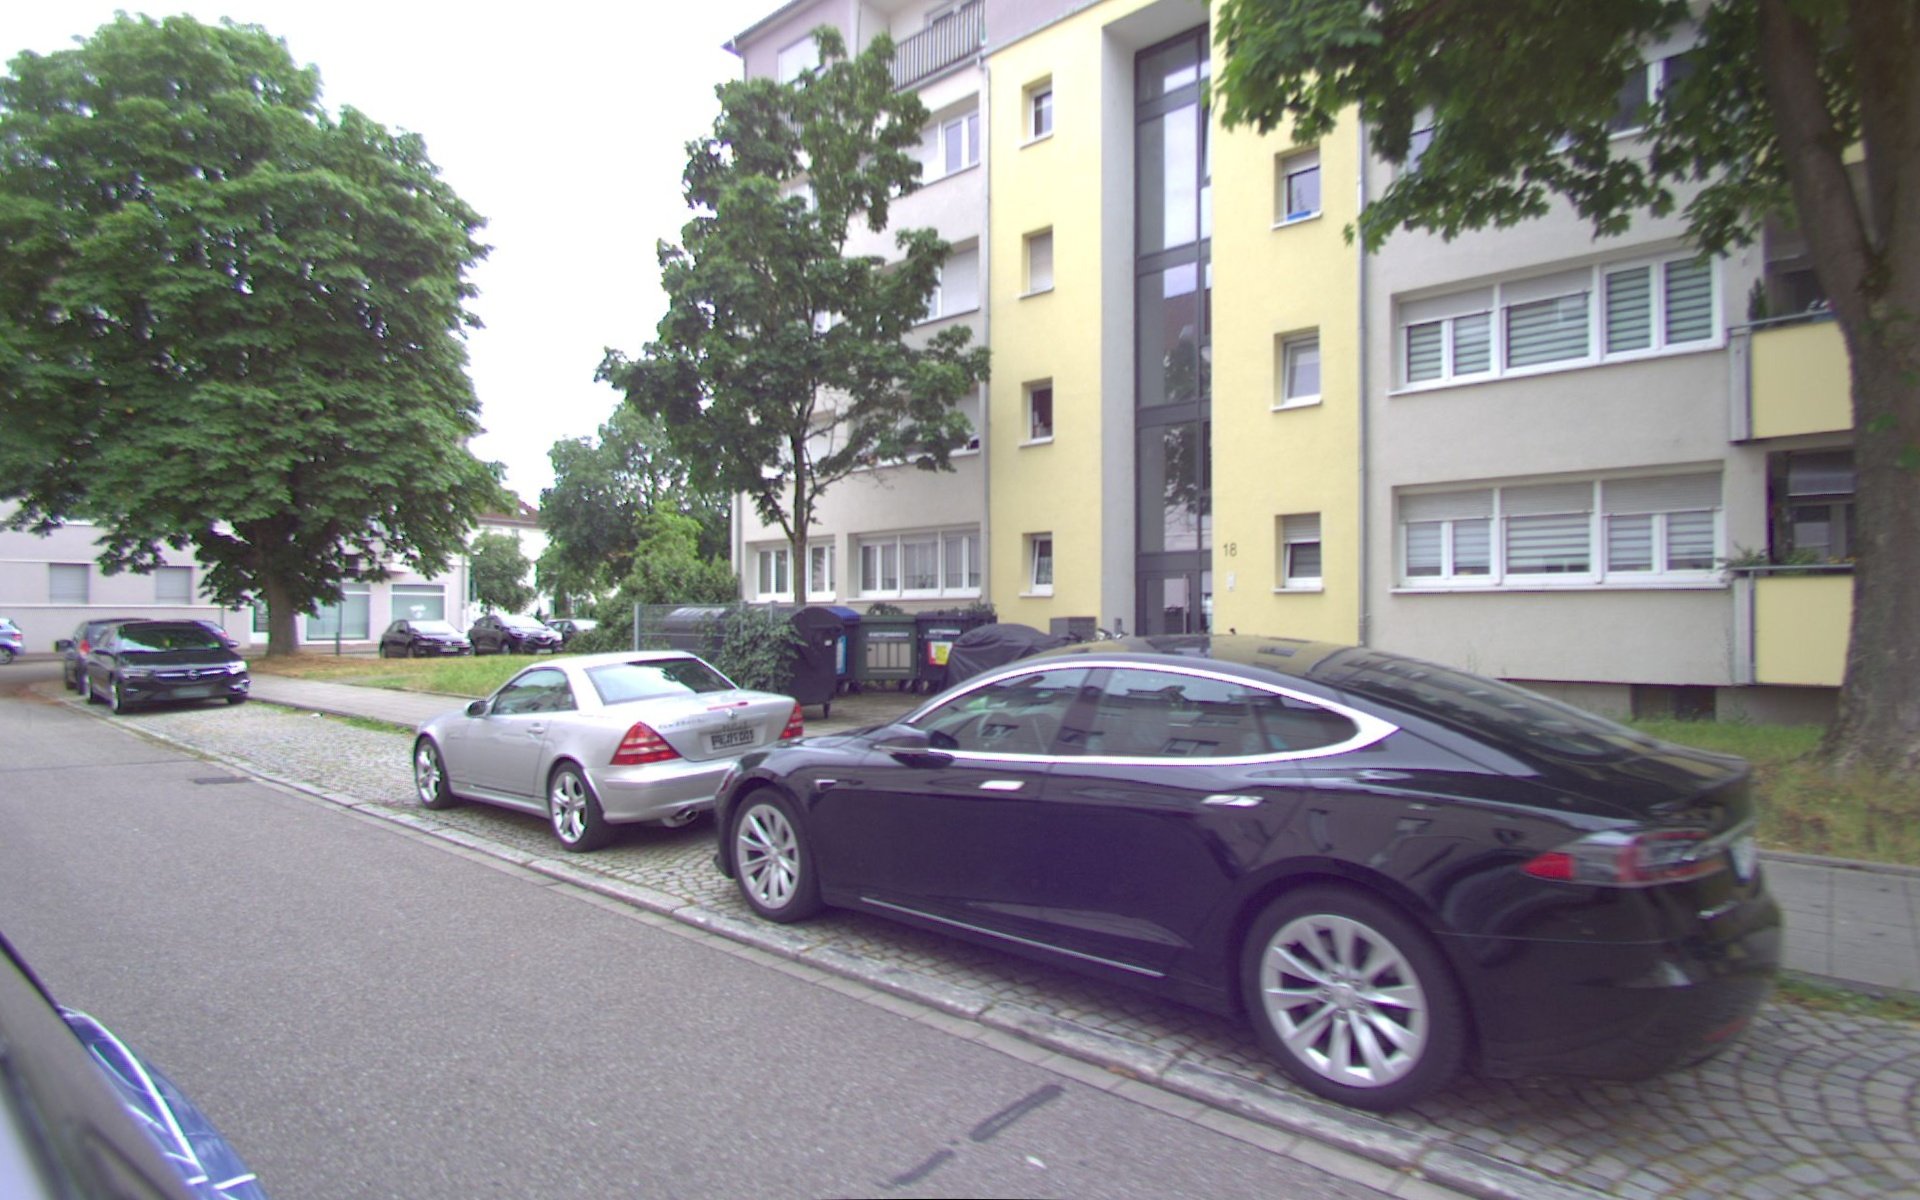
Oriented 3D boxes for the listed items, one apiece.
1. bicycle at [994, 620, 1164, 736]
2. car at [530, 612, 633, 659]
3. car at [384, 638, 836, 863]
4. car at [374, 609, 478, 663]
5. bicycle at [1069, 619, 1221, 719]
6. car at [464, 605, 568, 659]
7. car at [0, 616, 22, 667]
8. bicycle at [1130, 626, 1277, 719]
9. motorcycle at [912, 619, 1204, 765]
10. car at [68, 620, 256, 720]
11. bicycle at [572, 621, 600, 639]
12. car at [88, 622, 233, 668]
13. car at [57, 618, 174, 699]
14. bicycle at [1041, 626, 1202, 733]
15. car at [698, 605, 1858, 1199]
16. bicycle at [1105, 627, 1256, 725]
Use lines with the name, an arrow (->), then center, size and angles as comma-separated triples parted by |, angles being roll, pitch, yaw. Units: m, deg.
bicycle -> 1.209, 0.770, 10.562 | 1.774, 1.109, 0.545 | -1, -1, 42
car -> -13.647, 1.275, 36.357 | 1.814, 1.578, 4.359 | 0, -2, -45
car -> -2.975, 0.993, 8.153 | 4.013, 1.268, 1.679 | -2, 0, 42
car -> -16.892, 1.103, 31.958 | 3.843, 1.589, 1.804 | -1, -2, 44
bicycle -> 2.192, 0.788, 12.137 | 1.775, 1.109, 0.545 | -1, -1, 44
car -> -15.140, 1.104, 34.410 | 1.888, 1.710, 4.070 | 0, -2, -45
car -> -32.536, 1.358, 32.010 | 1.763, 1.640, 4.140 | -2, -1, 44
bicycle -> 3.073, 0.888, 12.908 | 1.774, 1.109, 0.545 | -1, -1, 42
motorcycle -> 0.845, 0.817, 9.931 | 3.066, 1.232, 0.673 | -2, -1, 43
car -> -14.373, 1.159, 18.125 | 4.833, 1.475, 1.848 | -2, 1, 42
bicycle -> -22.307, 1.800, 60.333 | 1.883, 1.075, 0.659 | -1, -1, 38
car -> -28.758, 1.568, 36.488 | 1.762, 1.501, 3.883 | -2, -1, 41
car -> -18.064, 1.188, 21.598 | 3.592, 1.505, 1.507 | -2, 1, 44
bicycle -> 1.783, 0.849, 11.367 | 1.774, 1.109, 0.545 | -1, -1, 42
car -> 0.938, 0.806, 4.581 | 4.627, 1.432, 1.822 | -2, 0, 42
bicycle -> 2.691, 0.899, 12.477 | 1.774, 1.109, 0.545 | -1, -1, 42
